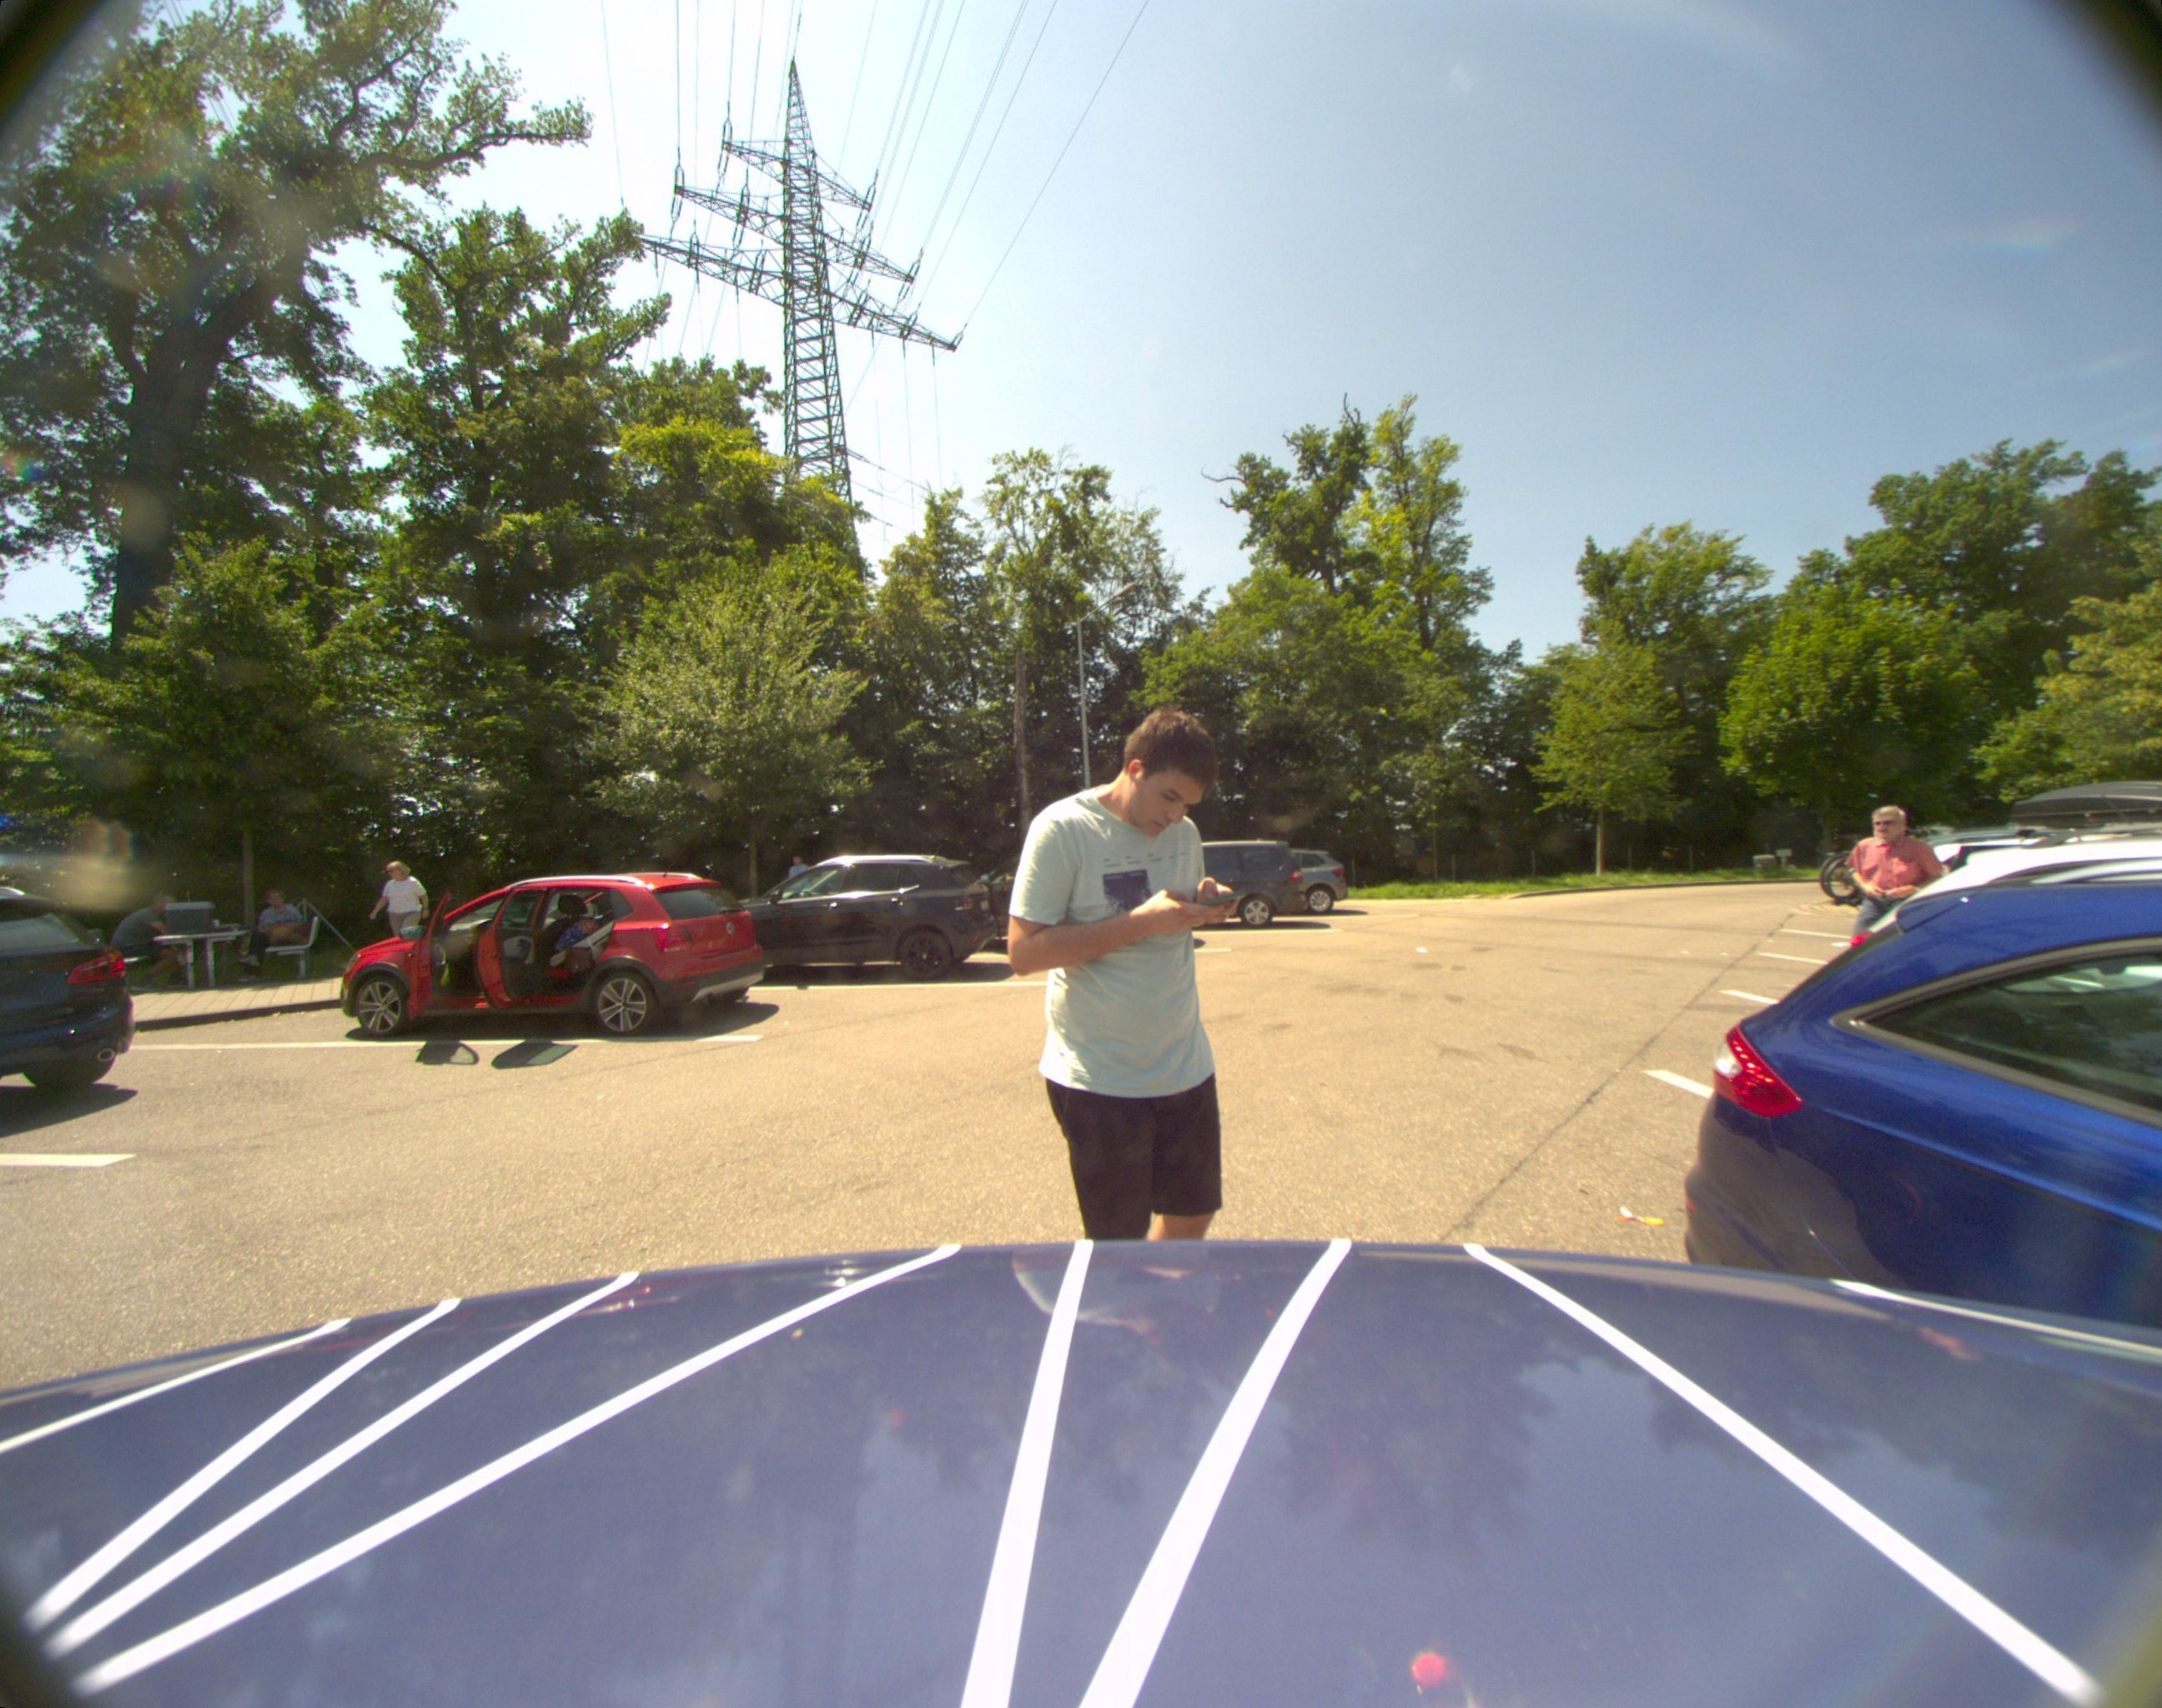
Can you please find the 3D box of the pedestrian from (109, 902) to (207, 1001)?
[{"bbox_3d":[-12.640,1.307,10.415,0.652,1.262,0.672,-2,0,24],"label":"pedestrian"}]

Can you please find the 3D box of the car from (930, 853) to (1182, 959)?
[{"bbox_3d":[-0.331,0.843,12.945,3.964,1.582,1.781,-2,0,8],"label":"car"}]

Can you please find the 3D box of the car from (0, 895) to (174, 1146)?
[{"bbox_3d":[-8.921,1.159,4.987,4.011,1.558,1.846,-2,0,6],"label":"car"}]

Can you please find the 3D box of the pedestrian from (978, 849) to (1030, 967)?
[{"bbox_3d":[-1.175,0.810,11.646,0.660,1.745,0.636,-2,0,1],"label":"pedestrian"}]

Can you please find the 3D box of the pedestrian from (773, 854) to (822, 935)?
[{"bbox_3d":[-5.775,0.807,15.512,0.715,1.584,0.809,-2,0,-7],"label":"pedestrian"}]

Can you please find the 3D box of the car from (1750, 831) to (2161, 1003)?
[{"bbox_3d":[10.060,0.534,8.146,1.779,1.456,4.470,-2,-1,0],"label":"car"}]

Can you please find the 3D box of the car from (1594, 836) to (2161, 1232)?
[{"bbox_3d":[4.882,0.659,3.622,1.779,1.456,4.470,-2,-1,0],"label":"car"}]

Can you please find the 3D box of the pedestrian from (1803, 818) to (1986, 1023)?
[{"bbox_3d":[6.779,0.530,6.375,0.672,1.592,0.759,-2,0,1],"label":"pedestrian"}]

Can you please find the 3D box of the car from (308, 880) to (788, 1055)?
[{"bbox_3d":[-5.196,1.075,7.706,3.704,1.448,1.781,-2,0,7],"label":"car"}]

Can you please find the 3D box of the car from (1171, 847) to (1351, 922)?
[{"bbox_3d":[4.173,0.716,18.190,3.964,1.577,1.781,-2,0,7],"label":"car"}]

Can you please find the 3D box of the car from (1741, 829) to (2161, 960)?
[{"bbox_3d":[12.361,0.478,10.931,1.779,1.456,4.470,-2,-1,0],"label":"car"}]

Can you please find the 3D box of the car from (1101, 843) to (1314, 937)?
[{"bbox_3d":[2.504,0.700,15.437,3.964,1.678,1.781,-2,0,7],"label":"car"}]

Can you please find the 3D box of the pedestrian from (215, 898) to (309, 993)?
[{"bbox_3d":[-11.887,1.305,11.037,0.828,1.287,0.672,-2,0,24],"label":"pedestrian"}]

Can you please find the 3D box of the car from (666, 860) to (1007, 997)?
[{"bbox_3d":[-3.150,0.941,10.366,3.966,1.582,1.841,-2,0,3],"label":"car"}]

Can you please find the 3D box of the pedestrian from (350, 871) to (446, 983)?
[{"bbox_3d":[-10.200,1.057,11.389,0.776,1.584,0.808,-2,0,-19],"label":"pedestrian"}]

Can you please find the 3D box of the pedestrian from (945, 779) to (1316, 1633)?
[{"bbox_3d":[0.103,0.713,1.820,0.687,1.699,0.578,-2,0,1],"label":"pedestrian"}]
